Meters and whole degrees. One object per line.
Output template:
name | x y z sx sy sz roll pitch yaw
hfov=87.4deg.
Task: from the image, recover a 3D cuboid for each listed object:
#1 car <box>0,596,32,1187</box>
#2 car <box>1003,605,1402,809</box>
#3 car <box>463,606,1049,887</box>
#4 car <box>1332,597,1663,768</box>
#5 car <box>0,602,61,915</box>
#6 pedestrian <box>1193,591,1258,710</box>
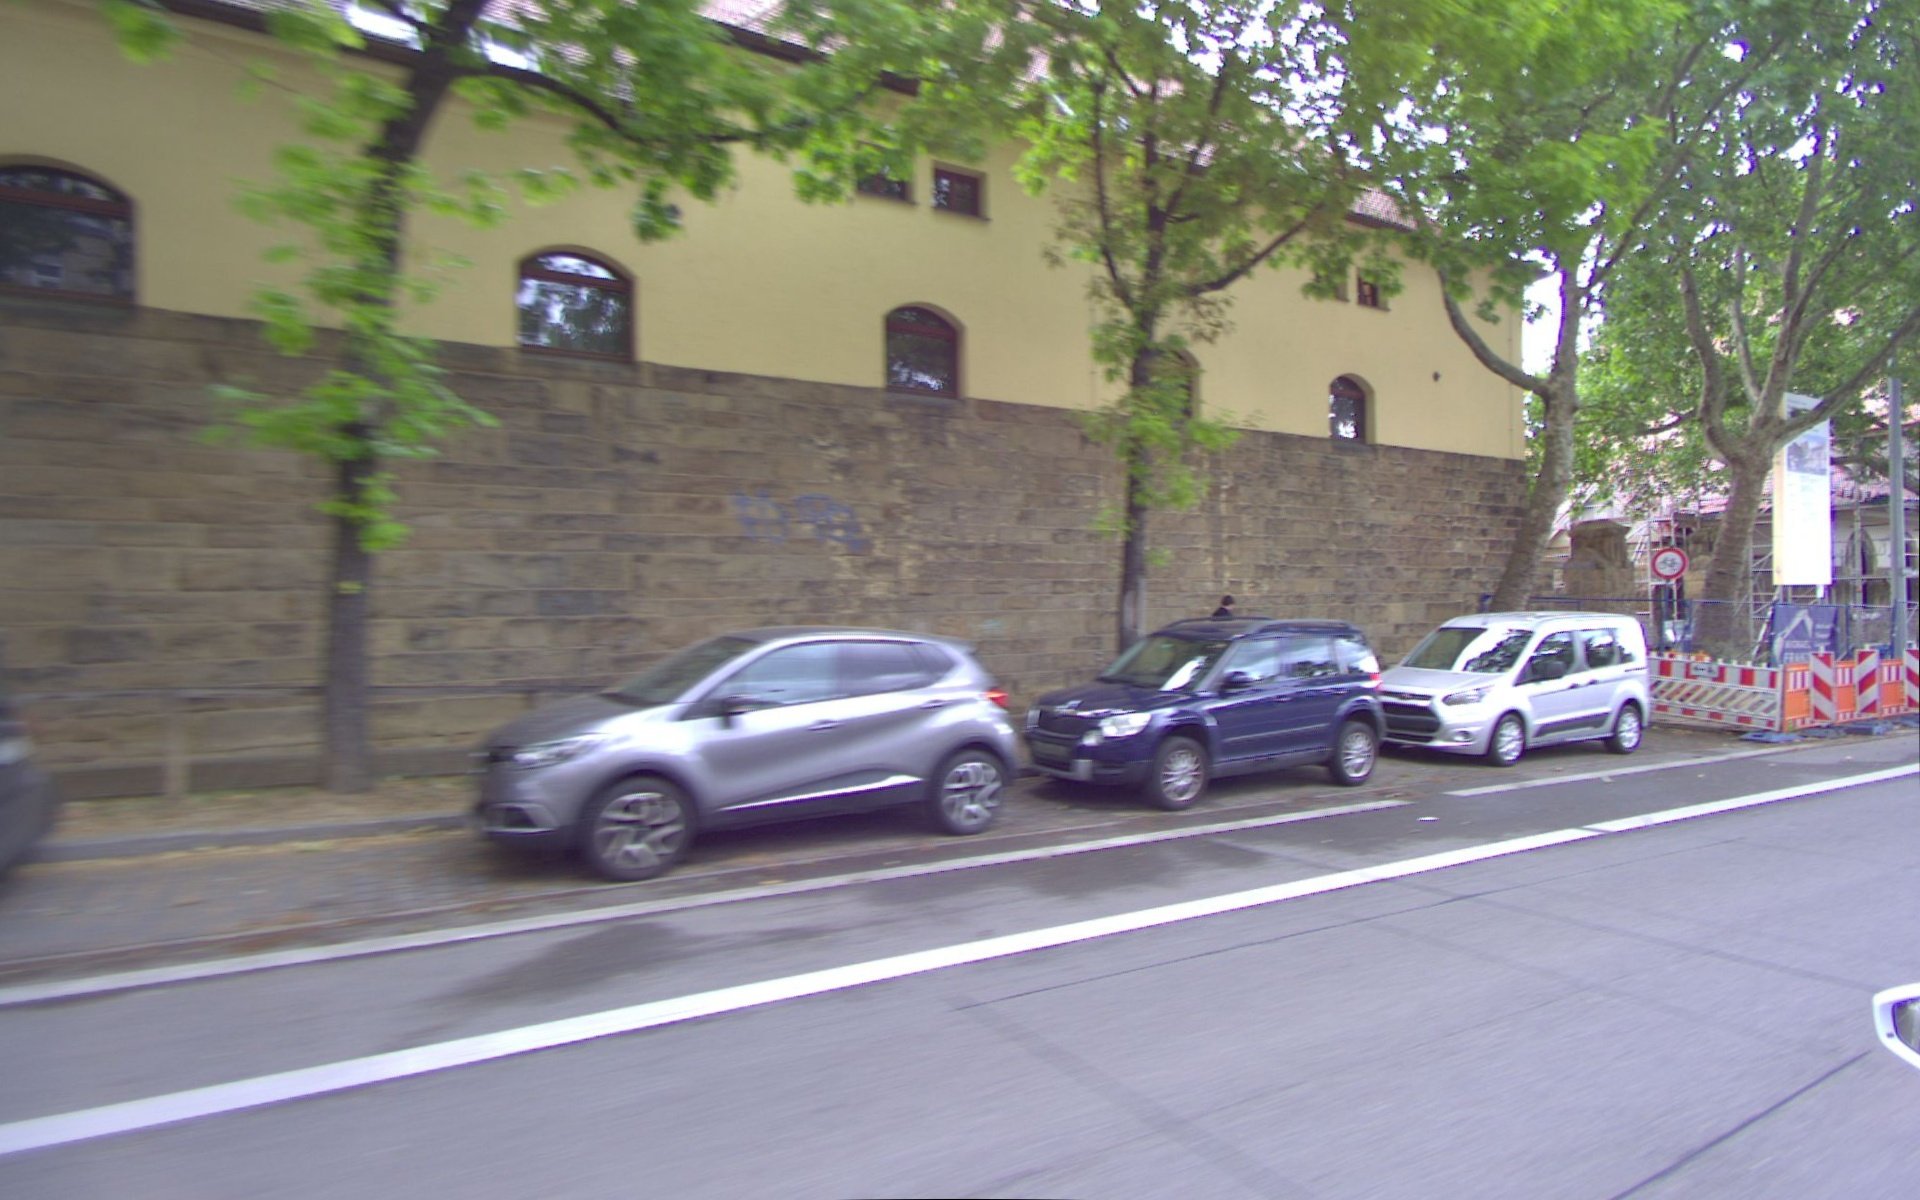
car | -3.621 0.659 1.027 3.610 1.483 1.575 1 -4 -31
car | 2.530 0.951 10.062 4.073 1.653 1.499 2 0 -34
car | -1.411 0.914 7.625 4.045 1.594 1.584 2 0 -34
car | 7.067 0.986 13.114 4.365 1.901 1.825 1 -2 -31
car | -6.448 0.806 4.803 2.958 1.595 1.472 1 1 -32
pedestrian | 4.195 0.792 15.879 0.734 1.823 0.589 2 0 -30
